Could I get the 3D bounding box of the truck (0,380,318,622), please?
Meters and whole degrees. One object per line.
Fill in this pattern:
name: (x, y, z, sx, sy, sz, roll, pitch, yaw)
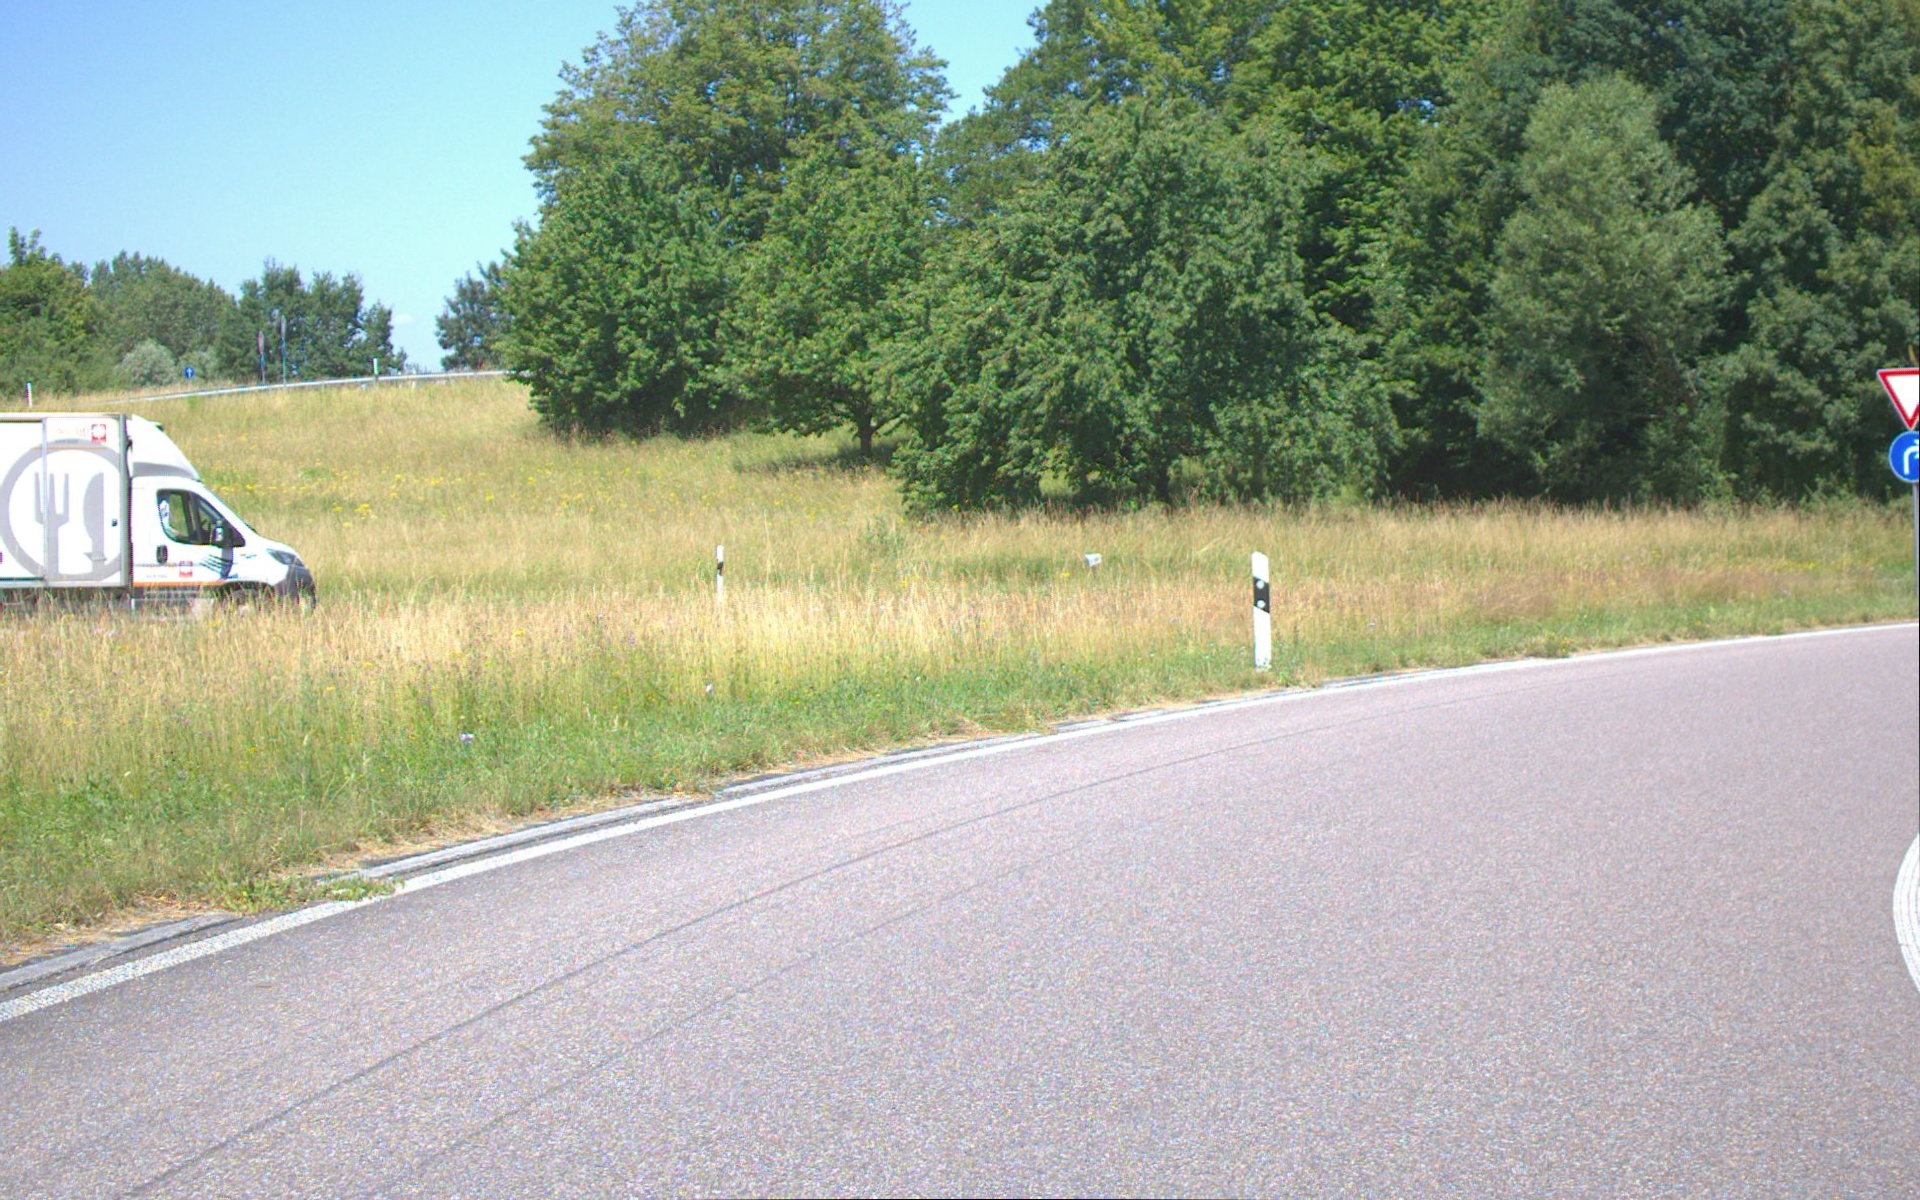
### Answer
truck: (-11.265, -1.254, 43.572, 5.873, 2.974, 2.249, -1, 1, -18)
